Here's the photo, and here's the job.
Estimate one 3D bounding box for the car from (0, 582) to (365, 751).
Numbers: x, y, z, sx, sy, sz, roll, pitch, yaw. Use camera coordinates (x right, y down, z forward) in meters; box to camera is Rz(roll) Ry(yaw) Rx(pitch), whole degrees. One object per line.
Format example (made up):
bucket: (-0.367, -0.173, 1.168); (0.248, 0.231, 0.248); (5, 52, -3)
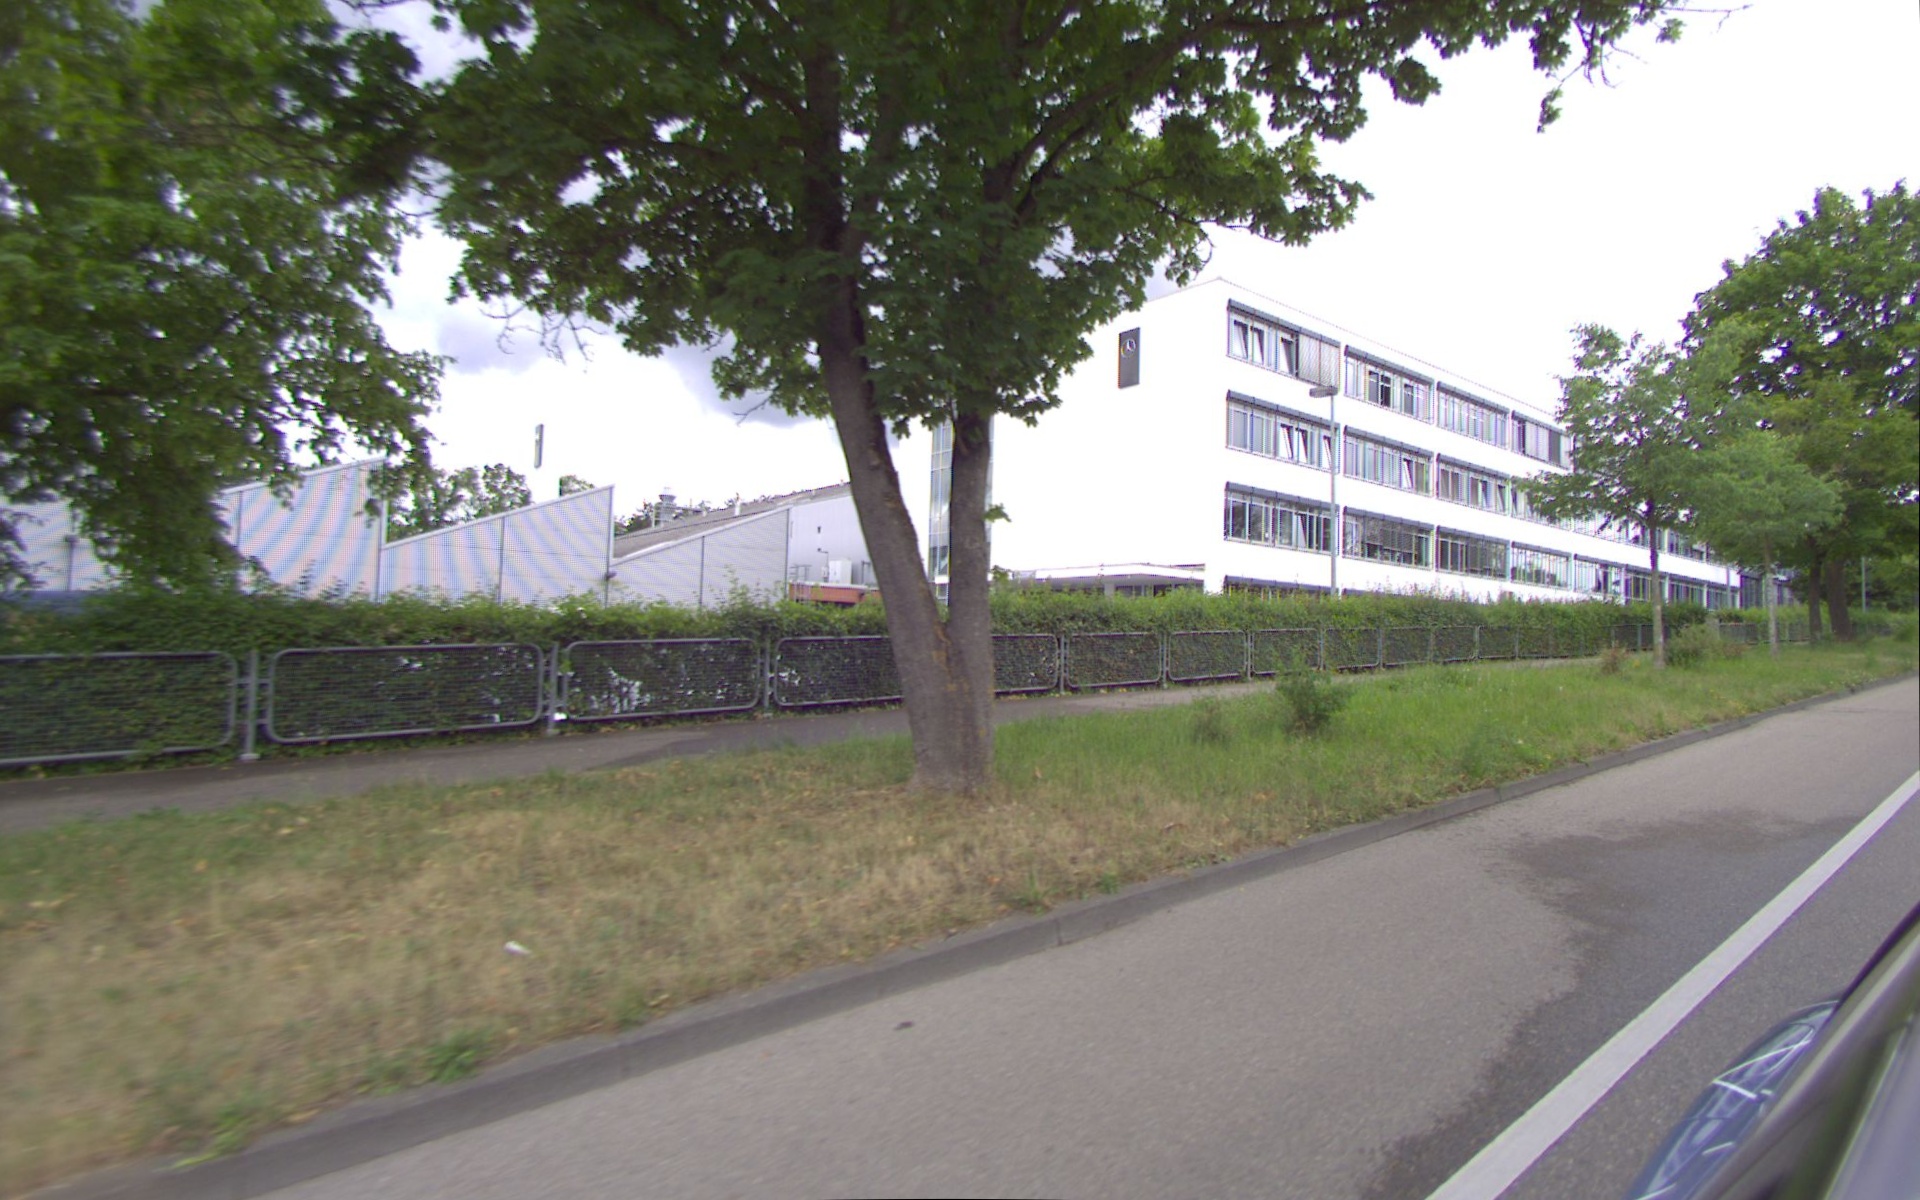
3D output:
car: (-10.834, 0.848, 13.749); (4.502, 2.060, 2.065); (-1, -1, 10)

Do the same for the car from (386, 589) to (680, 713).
car: (-7.583, 0.883, 18.198); (4.502, 2.060, 2.065); (-1, -1, 10)
